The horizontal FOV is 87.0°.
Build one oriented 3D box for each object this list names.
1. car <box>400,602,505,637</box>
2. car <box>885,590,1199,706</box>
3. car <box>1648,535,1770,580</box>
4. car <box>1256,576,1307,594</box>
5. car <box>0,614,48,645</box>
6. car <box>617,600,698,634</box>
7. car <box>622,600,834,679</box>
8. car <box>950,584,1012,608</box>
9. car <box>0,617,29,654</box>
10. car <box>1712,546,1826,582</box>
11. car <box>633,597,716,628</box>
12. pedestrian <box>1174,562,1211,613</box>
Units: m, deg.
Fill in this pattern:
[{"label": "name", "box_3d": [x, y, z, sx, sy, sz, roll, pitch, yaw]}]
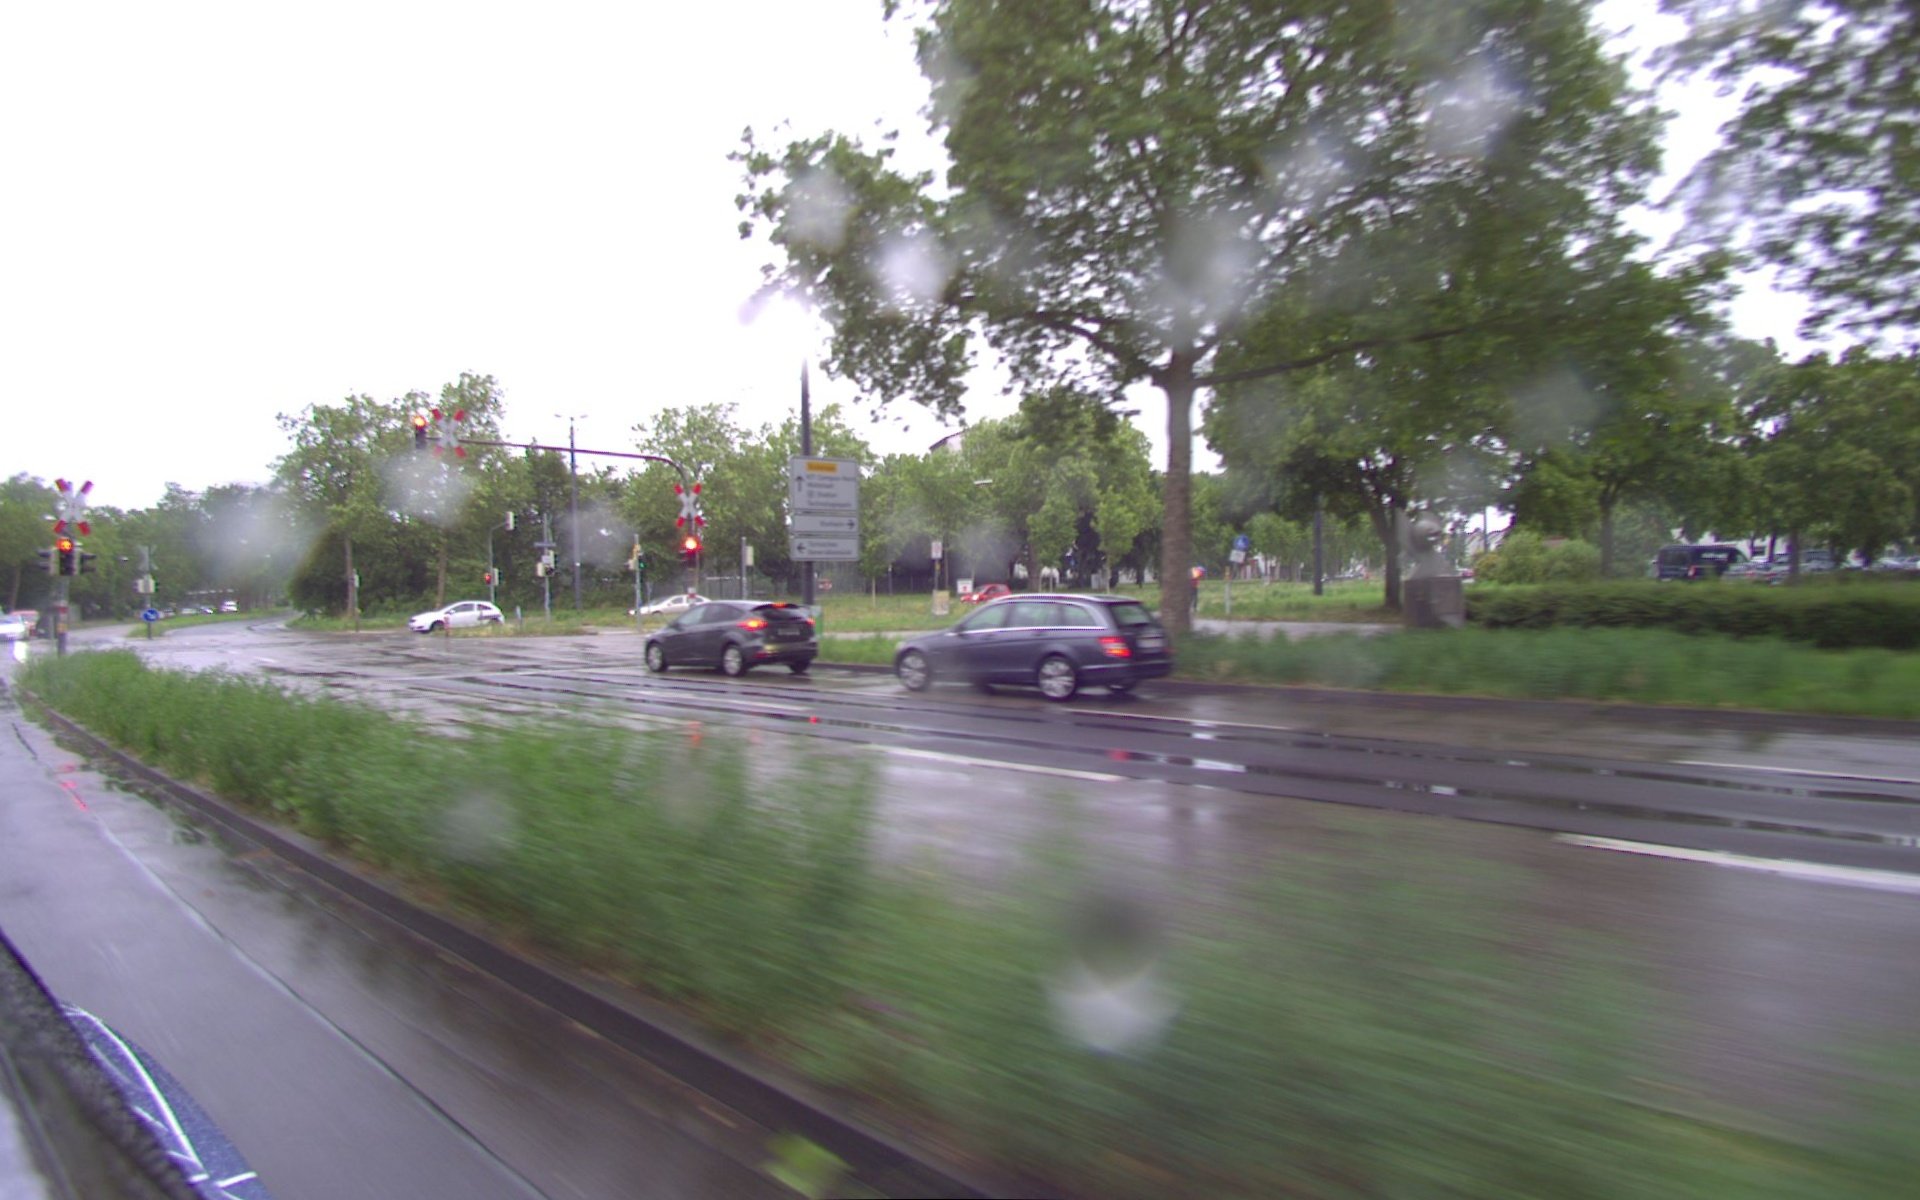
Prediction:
[{"label": "car", "box_3d": [-23.247, 0.876, 46.396, 3.937, 1.373, 1.791, -3, 0, -42]}, {"label": "car", "box_3d": [1.078, 0.582, 14.914, 4.459, 1.417, 1.780, 1, 2, 43]}, {"label": "car", "box_3d": [39.420, -2.236, 53.321, 5.033, 2.029, 2.318, -3, 0, -12]}, {"label": "car", "box_3d": [29.009, -1.325, 91.314, 4.046, 1.431, 1.651, -3, -1, 44]}, {"label": "car", "box_3d": [-53.539, 1.699, 57.780, 1.762, 1.619, 4.628, -3, 0, -37]}, {"label": "car", "box_3d": [-16.498, 0.904, 55.220, 3.748, 1.630, 1.877, -3, 0, -39]}, {"label": "car", "box_3d": [-4.672, 0.715, 20.125, 4.307, 1.412, 1.782, -1, 0, 37]}, {"label": "car", "box_3d": [1.412, -0.292, 66.051, 3.805, 1.391, 1.792, -3, 0, -41]}, {"label": "car", "box_3d": [-49.687, 1.881, 52.443, 1.904, 1.842, 4.615, -2, -1, -41]}, {"label": "car", "box_3d": [40.717, -1.812, 50.985, 4.769, 1.542, 1.760, -3, 0, -12]}, {"label": "car", "box_3d": [-14.854, 0.661, 52.814, 3.737, 1.414, 1.791, -3, 0, -43]}, {"label": "pedestrian", "box_3d": [9.483, -0.497, 41.278, 0.992, 2.005, 0.955, -2, -1, -40]}]
